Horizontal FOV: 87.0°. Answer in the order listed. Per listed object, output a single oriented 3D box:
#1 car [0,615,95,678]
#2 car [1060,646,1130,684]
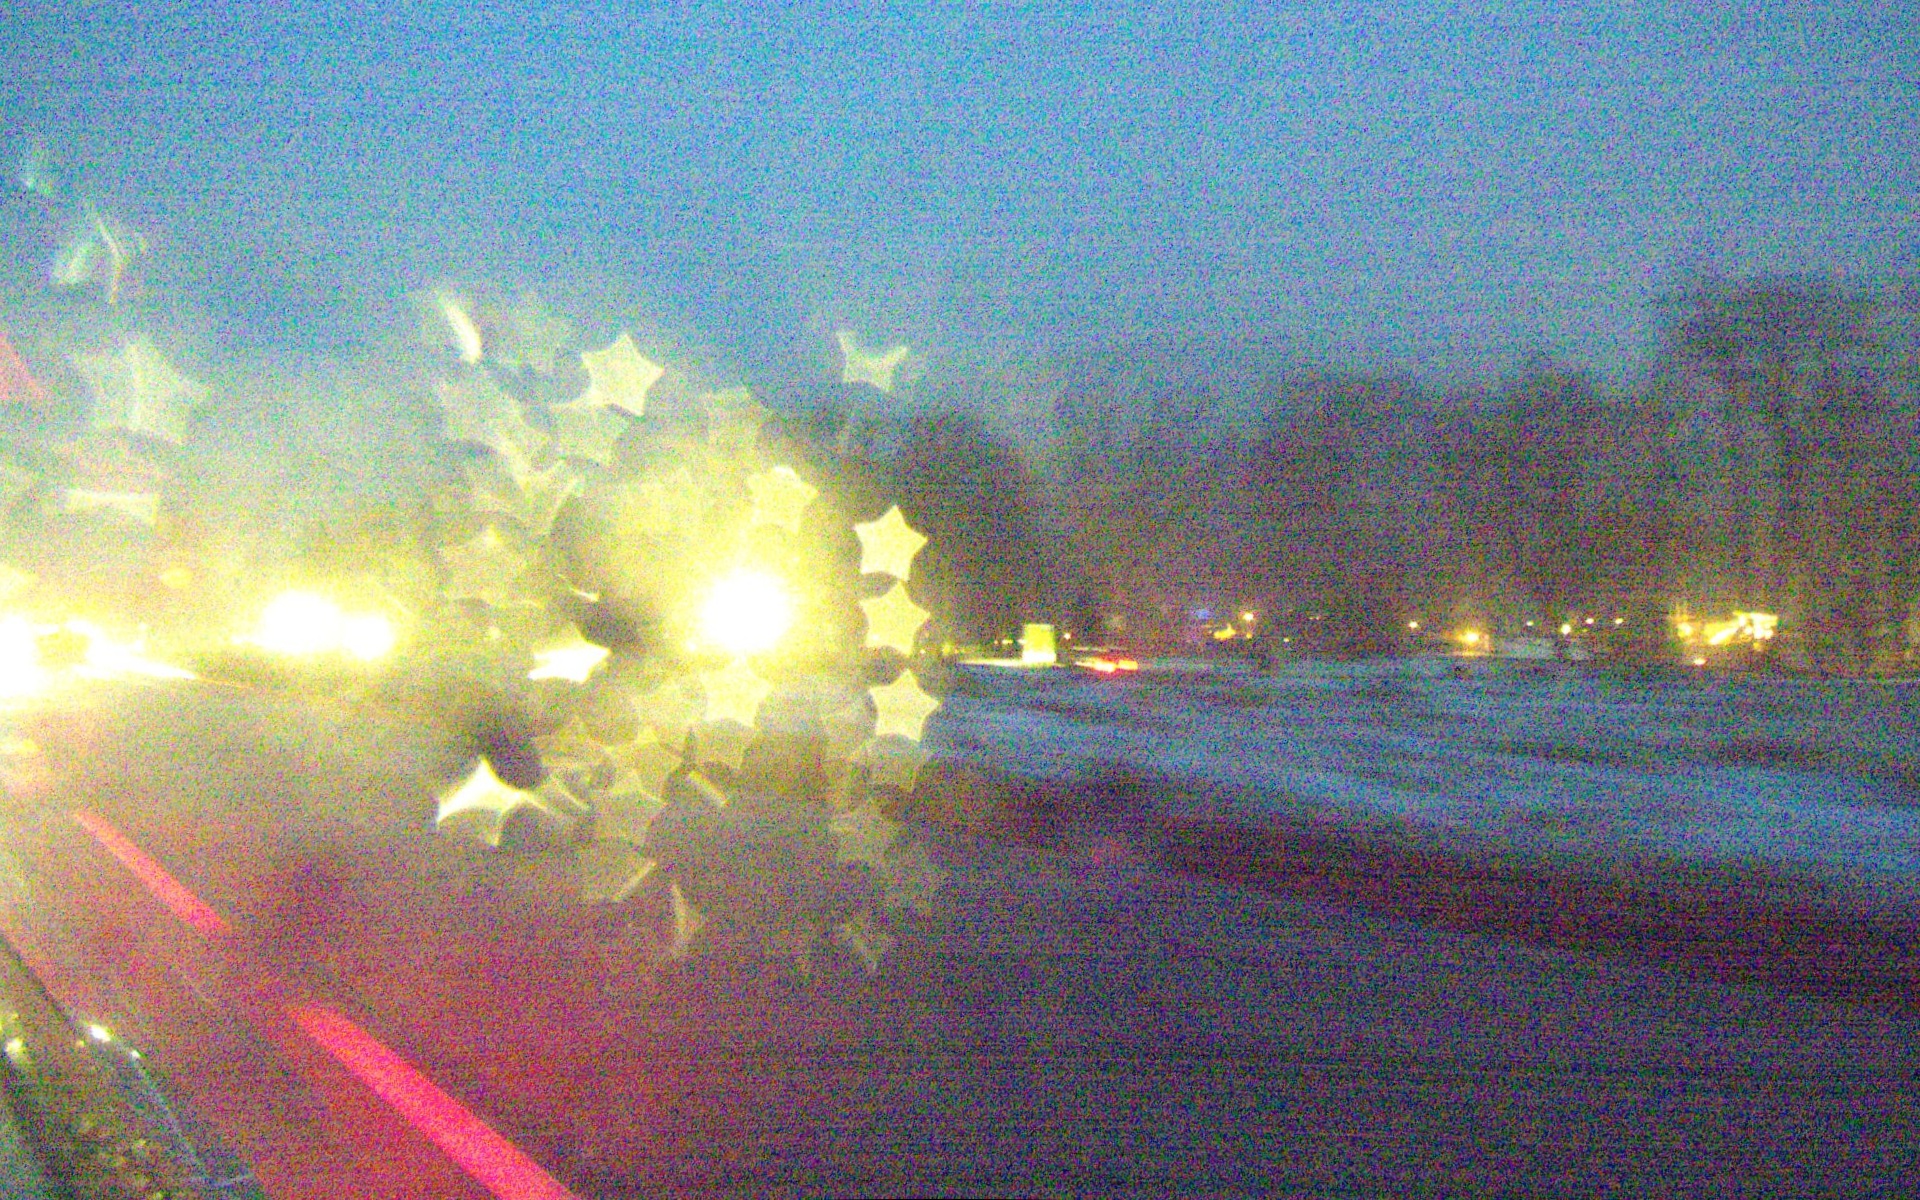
[{"bbox_3d":[-25.173,1.221,27.798,4.000,1.554,1.716,-1,1,43],"label":"car"},{"bbox_3d":[6.395,3.065,48.086,1.632,1.532,3.461,-1,1,-26],"label":"car"}]
